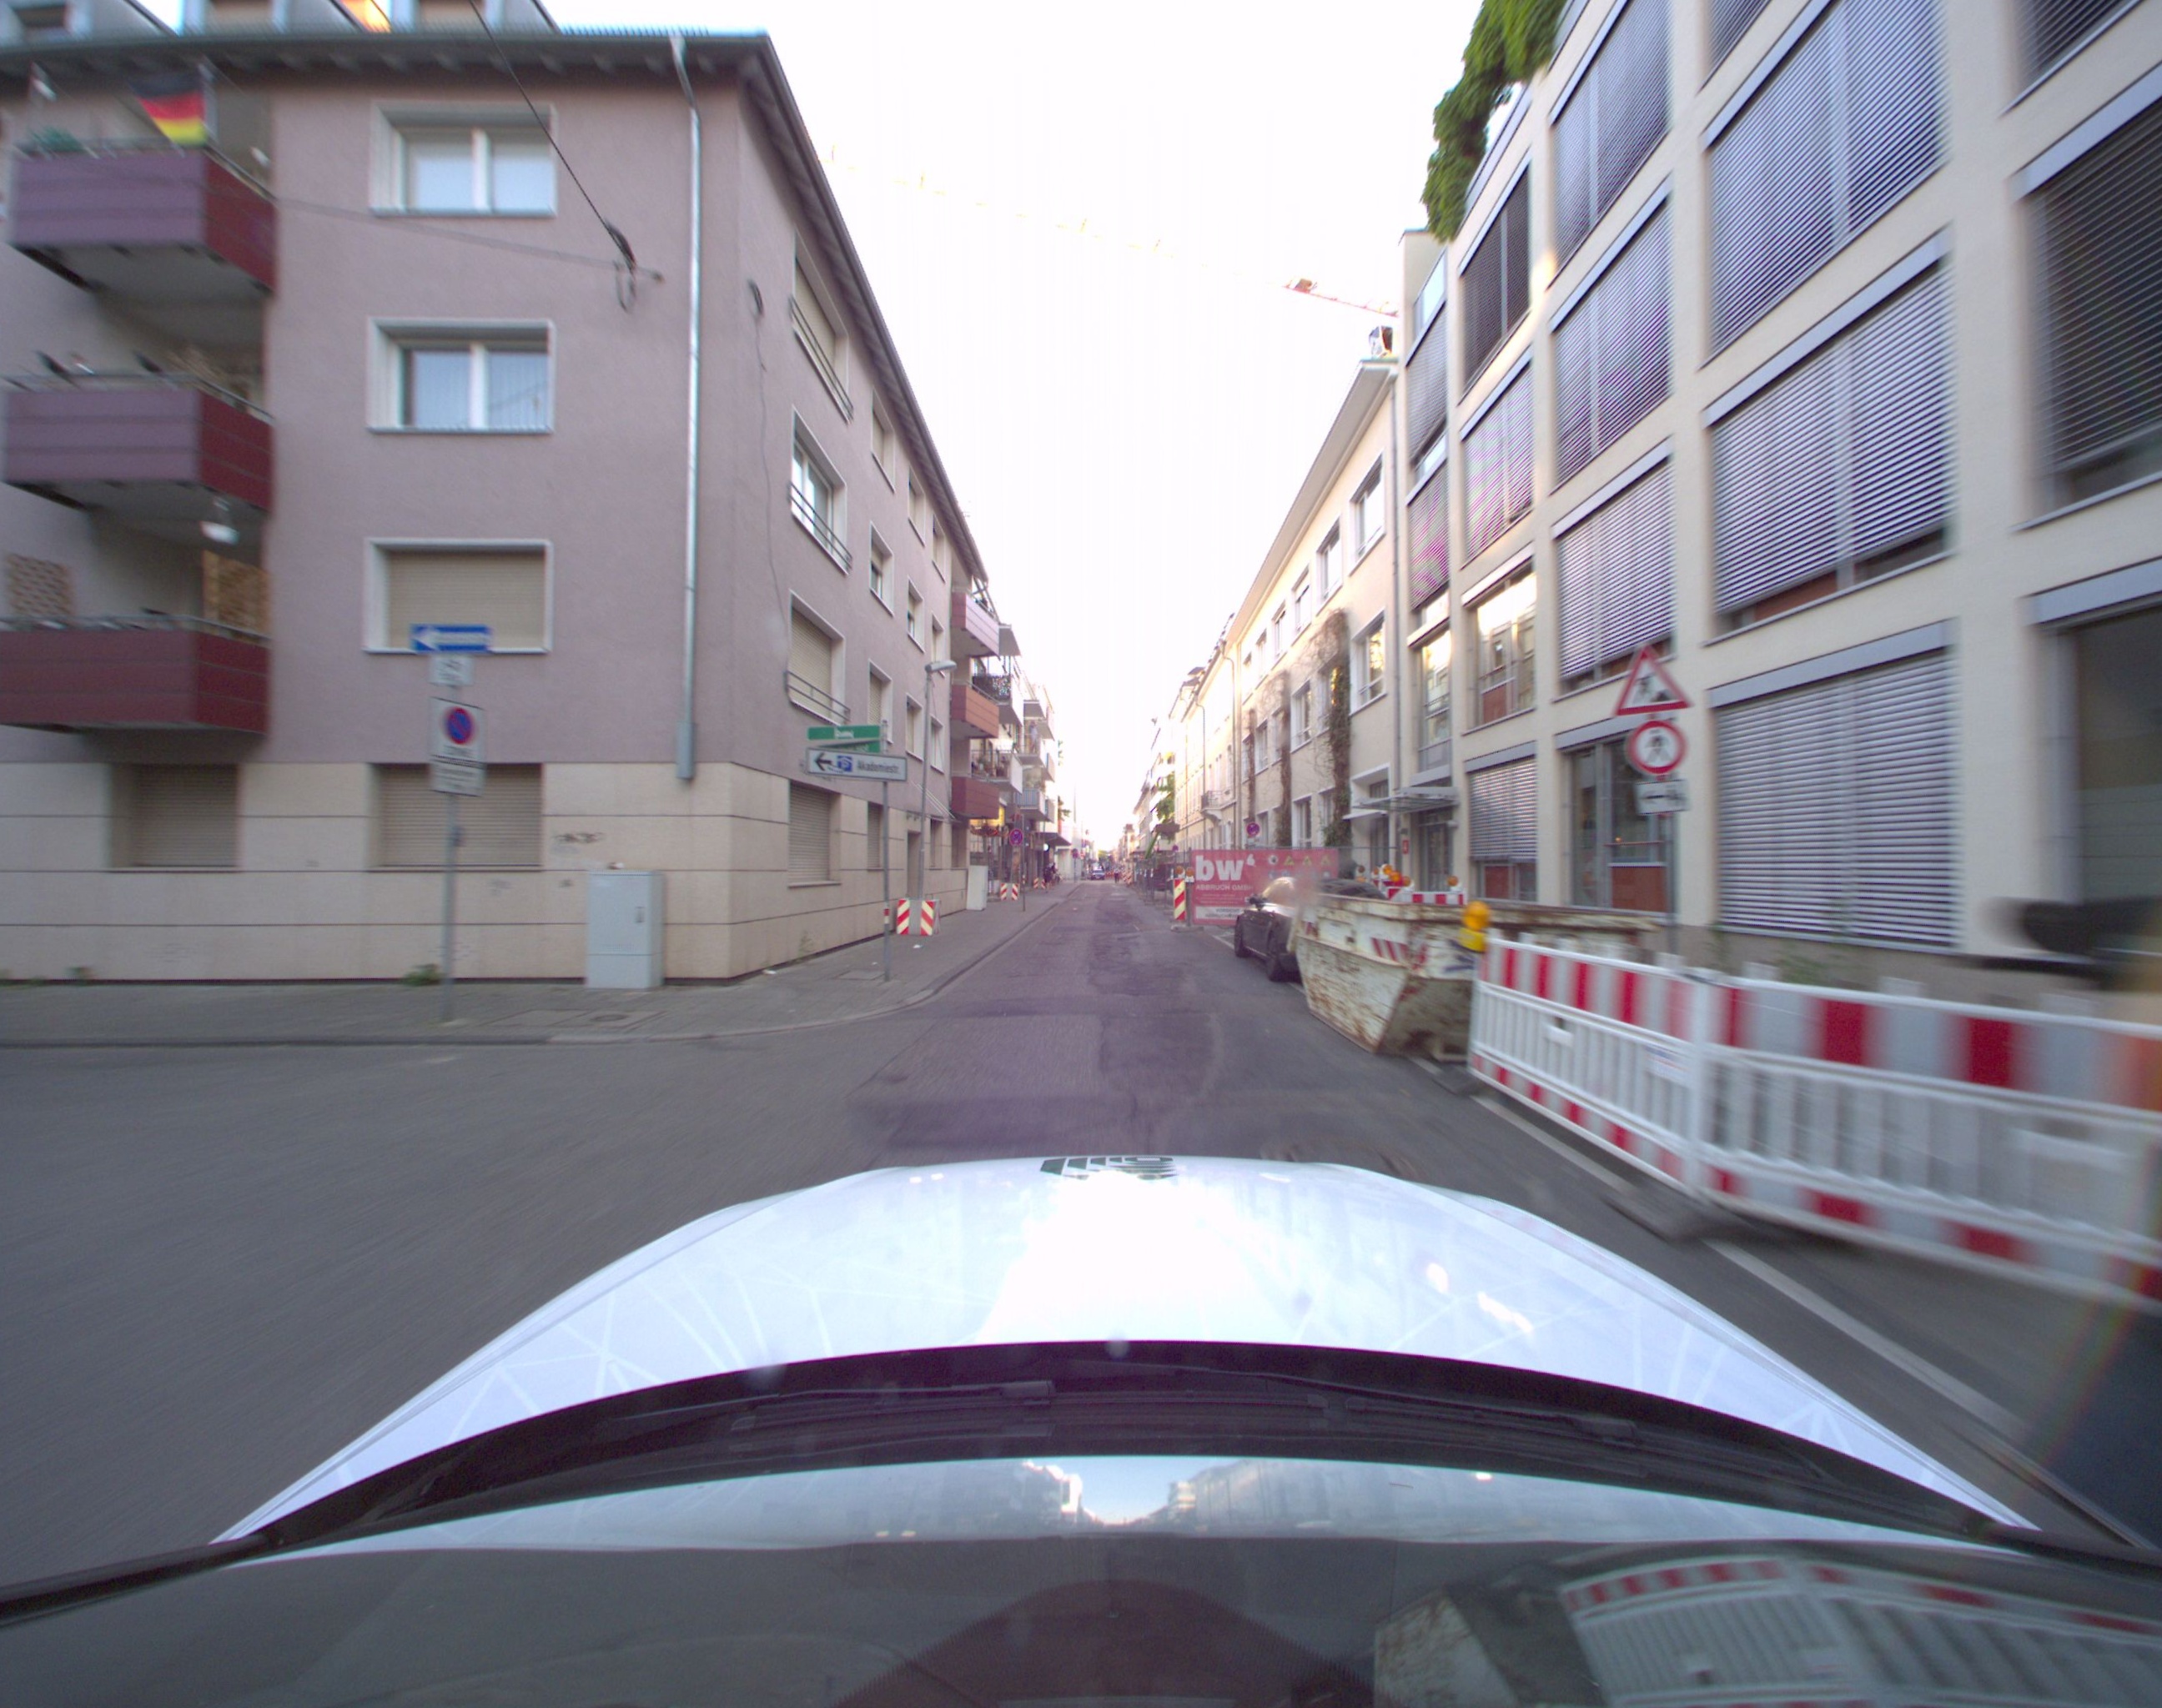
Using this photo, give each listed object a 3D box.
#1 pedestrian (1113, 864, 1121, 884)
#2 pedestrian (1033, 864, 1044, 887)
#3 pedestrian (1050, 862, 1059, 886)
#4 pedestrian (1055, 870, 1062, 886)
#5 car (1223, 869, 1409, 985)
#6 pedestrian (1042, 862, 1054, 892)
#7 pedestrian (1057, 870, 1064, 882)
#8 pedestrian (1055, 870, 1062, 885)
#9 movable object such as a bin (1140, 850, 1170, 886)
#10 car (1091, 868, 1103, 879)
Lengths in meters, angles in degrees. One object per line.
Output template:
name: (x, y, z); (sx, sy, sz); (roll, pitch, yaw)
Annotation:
pedestrian: (3.246, 1.808, 73.568); (0.718, 1.740, 0.647); (0, -1, -1)
pedestrian: (-2.880, 1.441, 54.837); (0.646, 1.565, 0.628); (0, -1, -14)
pedestrian: (-2.137, 1.556, 64.714); (0.573, 1.886, 0.653); (0, -1, -15)
pedestrian: (-1.986, 2.085, 71.681); (0.556, 1.391, 0.893); (0, -1, 1)
car: (3.341, 0.960, 12.461); (1.687, 1.406, 4.481); (1, -1, 2)
pedestrian: (-1.942, 1.358, 48.453); (0.626, 1.808, 0.648); (0, -1, 3)
pedestrian: (-1.892, 2.064, 75.986); (0.616, 1.172, 0.787); (0, -1, 0)
pedestrian: (-2.003, 2.105, 72.944); (0.540, 1.388, 0.625); (0, -1, 2)
movable object such as a bin: (6.652, 1.192, 73.603); (2.461, 3.131, 4.299); (1, 0, 1)
car: (2.108, 2.515, 105.092); (1.469, 1.398, 3.333); (0, -1, 1)
